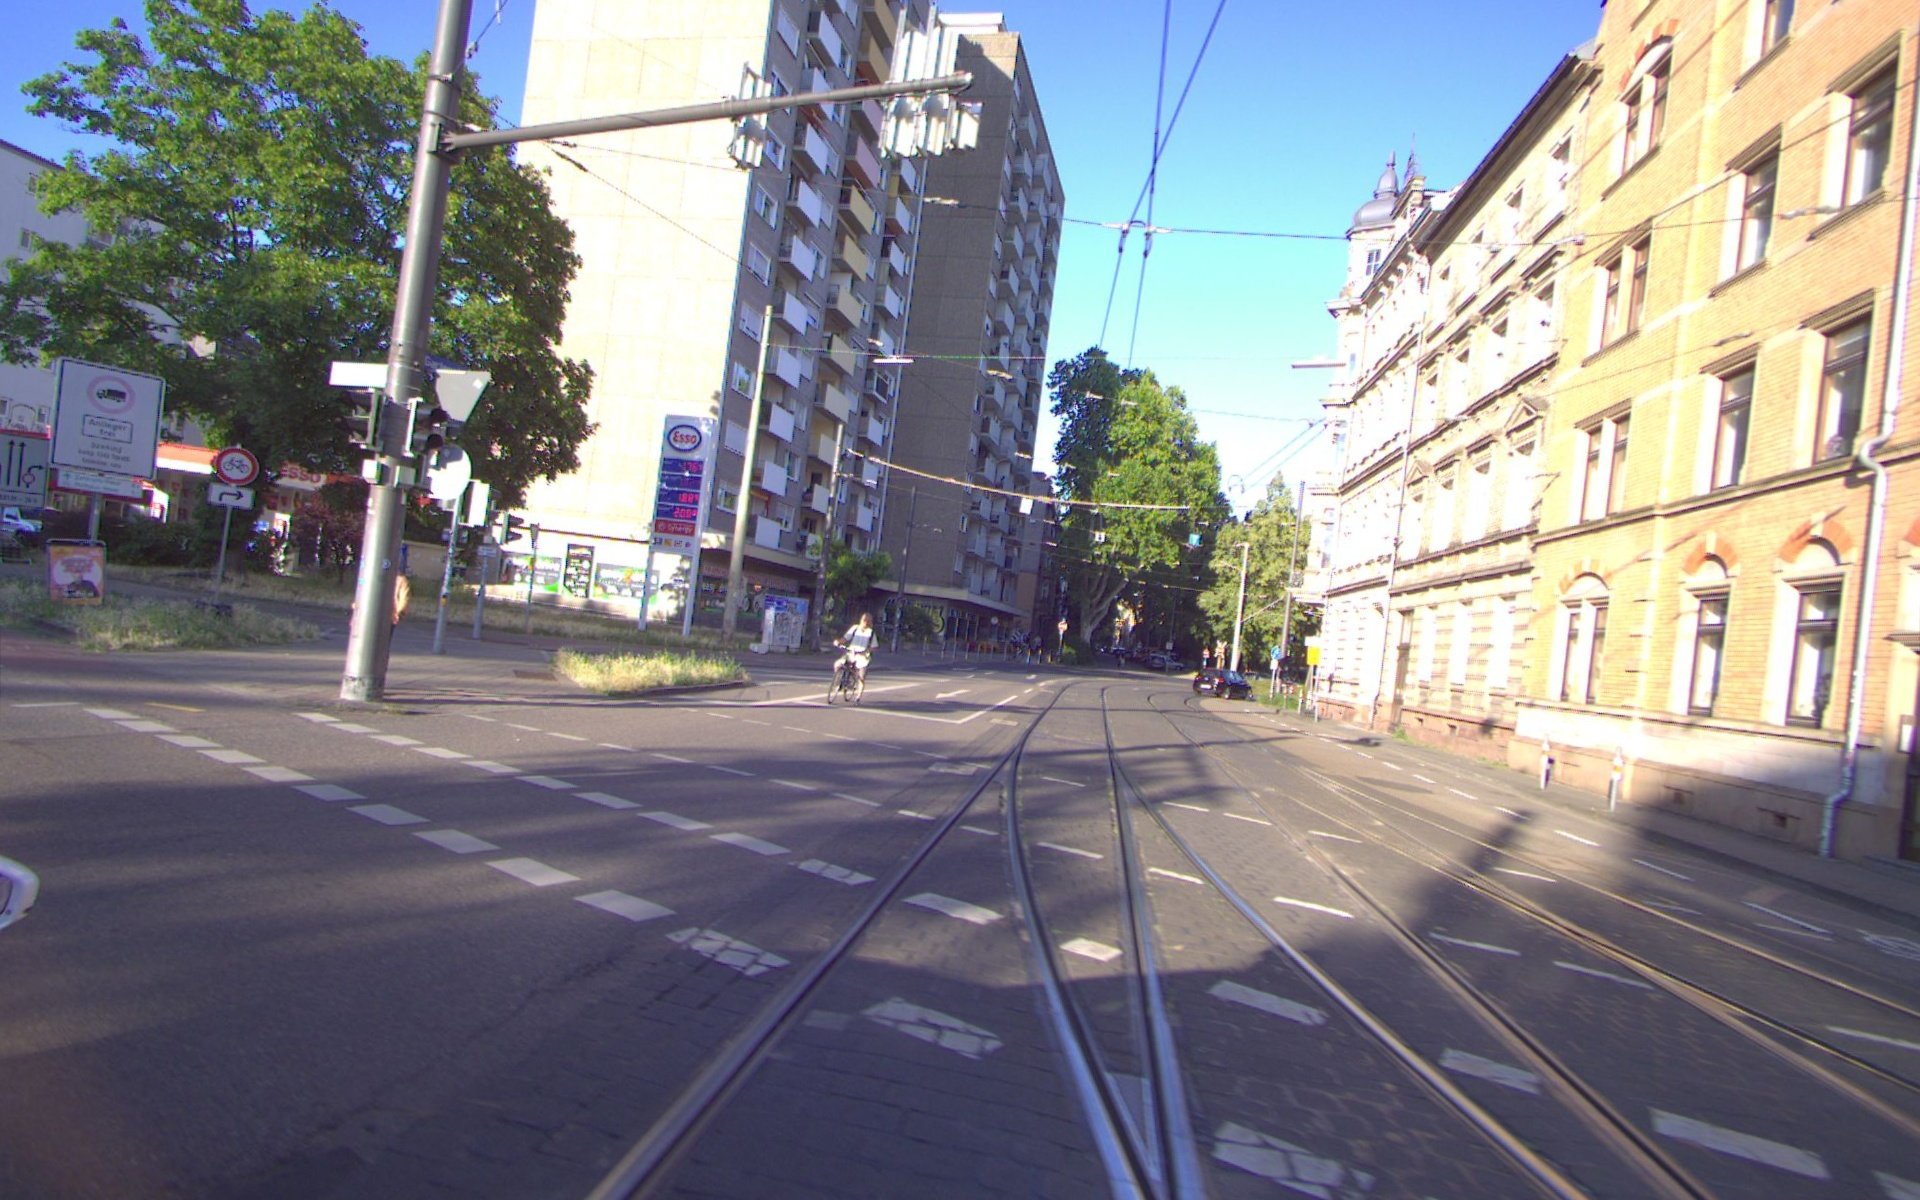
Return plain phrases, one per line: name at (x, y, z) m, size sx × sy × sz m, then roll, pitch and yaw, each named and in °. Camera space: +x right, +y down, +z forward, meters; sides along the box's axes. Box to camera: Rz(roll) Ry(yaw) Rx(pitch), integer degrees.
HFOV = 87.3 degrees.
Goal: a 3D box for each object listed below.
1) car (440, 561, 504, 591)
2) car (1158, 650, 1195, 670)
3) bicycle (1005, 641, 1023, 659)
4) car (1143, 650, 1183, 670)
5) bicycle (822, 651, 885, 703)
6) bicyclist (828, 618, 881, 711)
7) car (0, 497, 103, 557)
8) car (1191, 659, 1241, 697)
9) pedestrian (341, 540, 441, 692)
car at (-31.158, -1.532, 64.304) m, size 3.373 × 1.397 × 1.576 m, roll 7°, pitch -1°, yaw 16°
car at (24.542, 6.824, 114.245) m, size 3.924 × 1.637 × 1.825 m, roll 8°, pitch -1°, yaw 10°
bicycle at (3.557, 3.320, 66.070) m, size 0.548 × 0.992 × 1.725 m, roll 7°, pitch -4°, yaw 20°
car at (20.891, 6.178, 103.566) m, size 3.517 × 1.476 × 1.831 m, roll 8°, pitch -1°, yaw -3°
bicycle at (-1.954, 1.403, 18.679) m, size 0.610 × 0.838 × 1.817 m, roll 7°, pitch -2°, yaw 9°
bicyclist at (-1.937, 1.187, 18.560) m, size 0.625 × 1.602 × 0.696 m, roll 7°, pitch -1°, yaw 9°
car at (-30.857, -2.506, 33.409) m, size 4.272 × 1.548 × 1.778 m, roll 7°, pitch -2°, yaw 22°
car at (13.020, 3.951, 51.084) m, size 1.790 × 1.637 × 4.001 m, roll 7°, pitch -2°, yaw 22°
pedestrian at (-6.582, 0.190, 11.643) m, size 0.687 × 1.648 × 0.553 m, roll 7°, pitch -1°, yaw 27°
